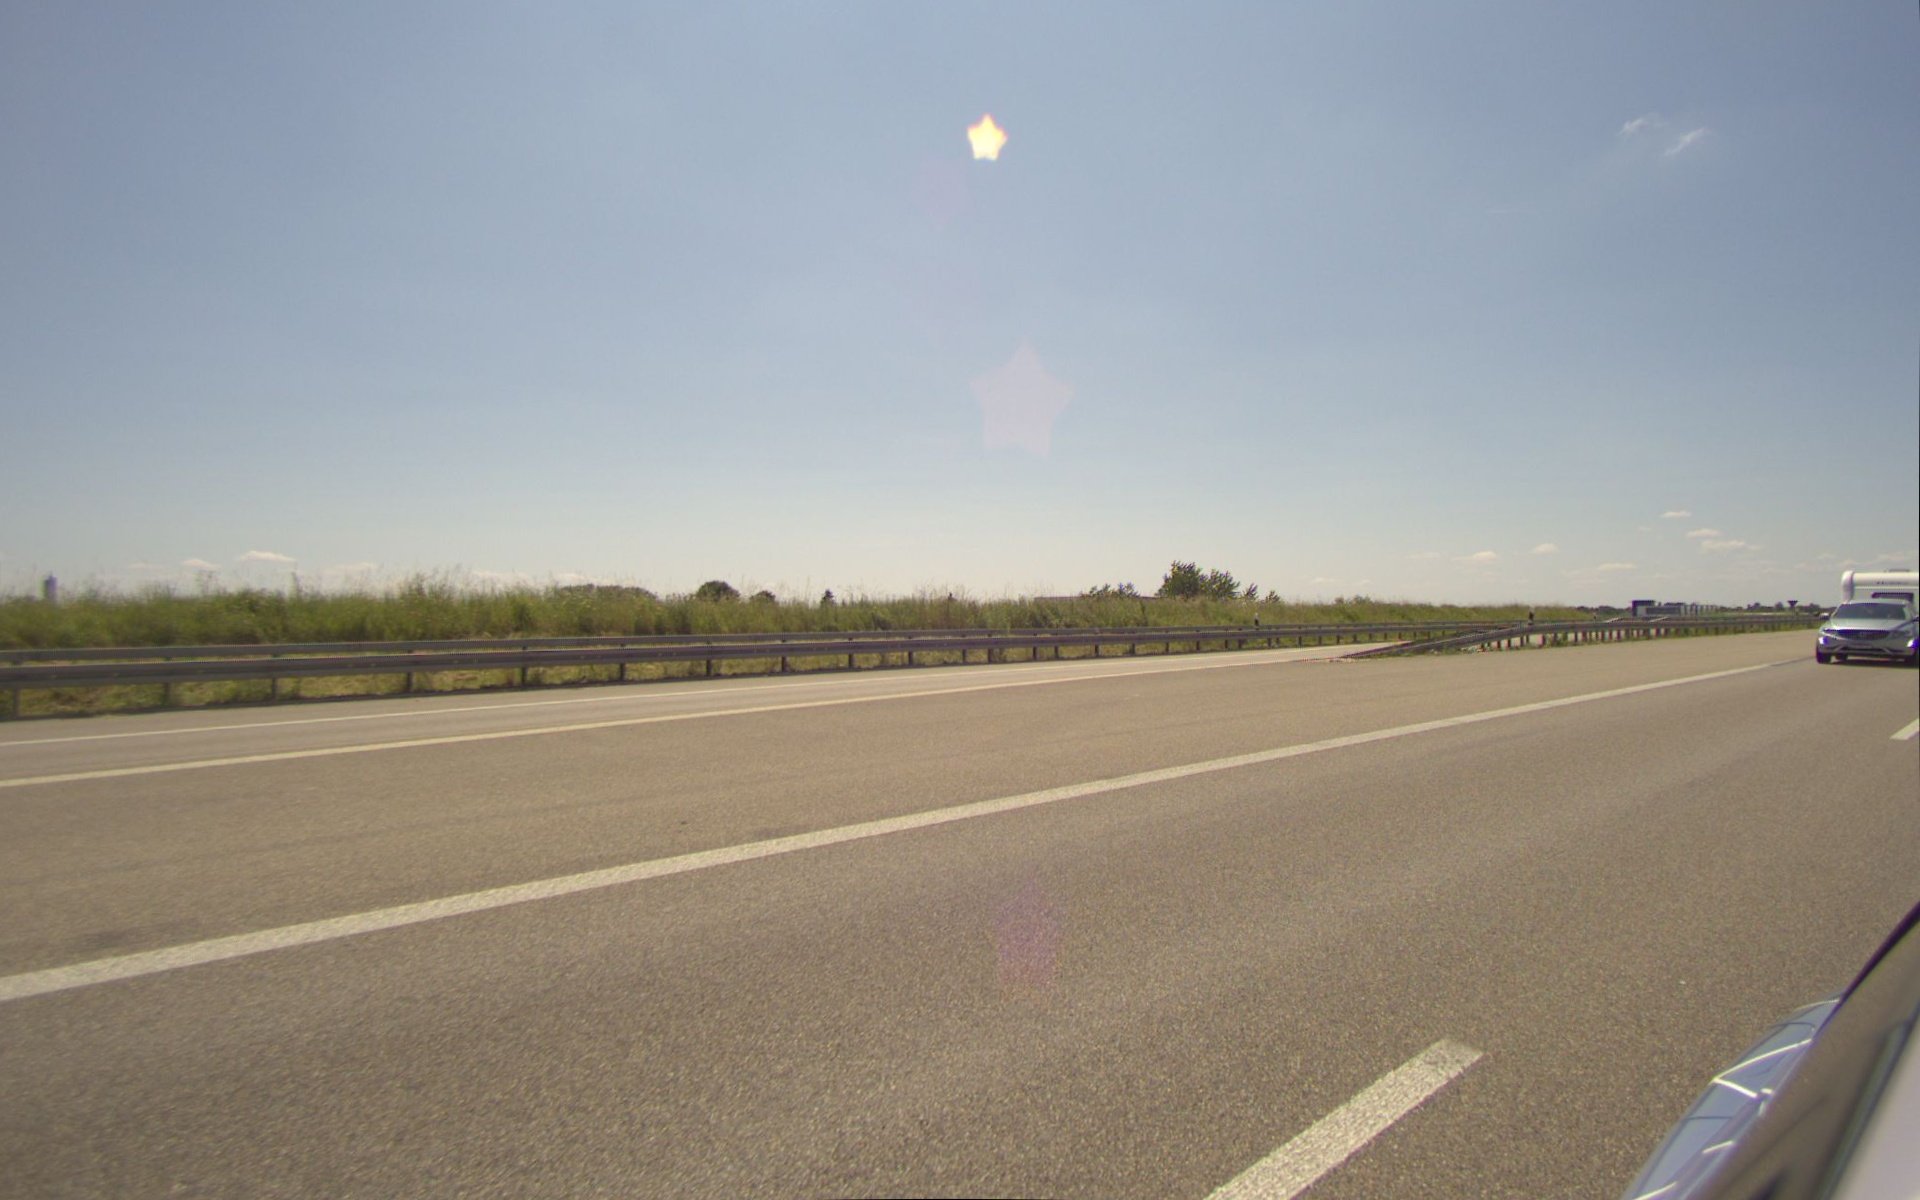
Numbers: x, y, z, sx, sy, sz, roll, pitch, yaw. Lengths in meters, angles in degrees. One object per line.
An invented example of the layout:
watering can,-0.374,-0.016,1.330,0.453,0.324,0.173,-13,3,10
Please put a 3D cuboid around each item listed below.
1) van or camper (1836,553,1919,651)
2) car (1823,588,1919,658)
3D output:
van or camper,28.159,0.113,29.825,7.680,2.626,2.516,1,-1,-41
car,23.601,0.566,25.710,4.818,1.643,1.883,1,-1,-41
